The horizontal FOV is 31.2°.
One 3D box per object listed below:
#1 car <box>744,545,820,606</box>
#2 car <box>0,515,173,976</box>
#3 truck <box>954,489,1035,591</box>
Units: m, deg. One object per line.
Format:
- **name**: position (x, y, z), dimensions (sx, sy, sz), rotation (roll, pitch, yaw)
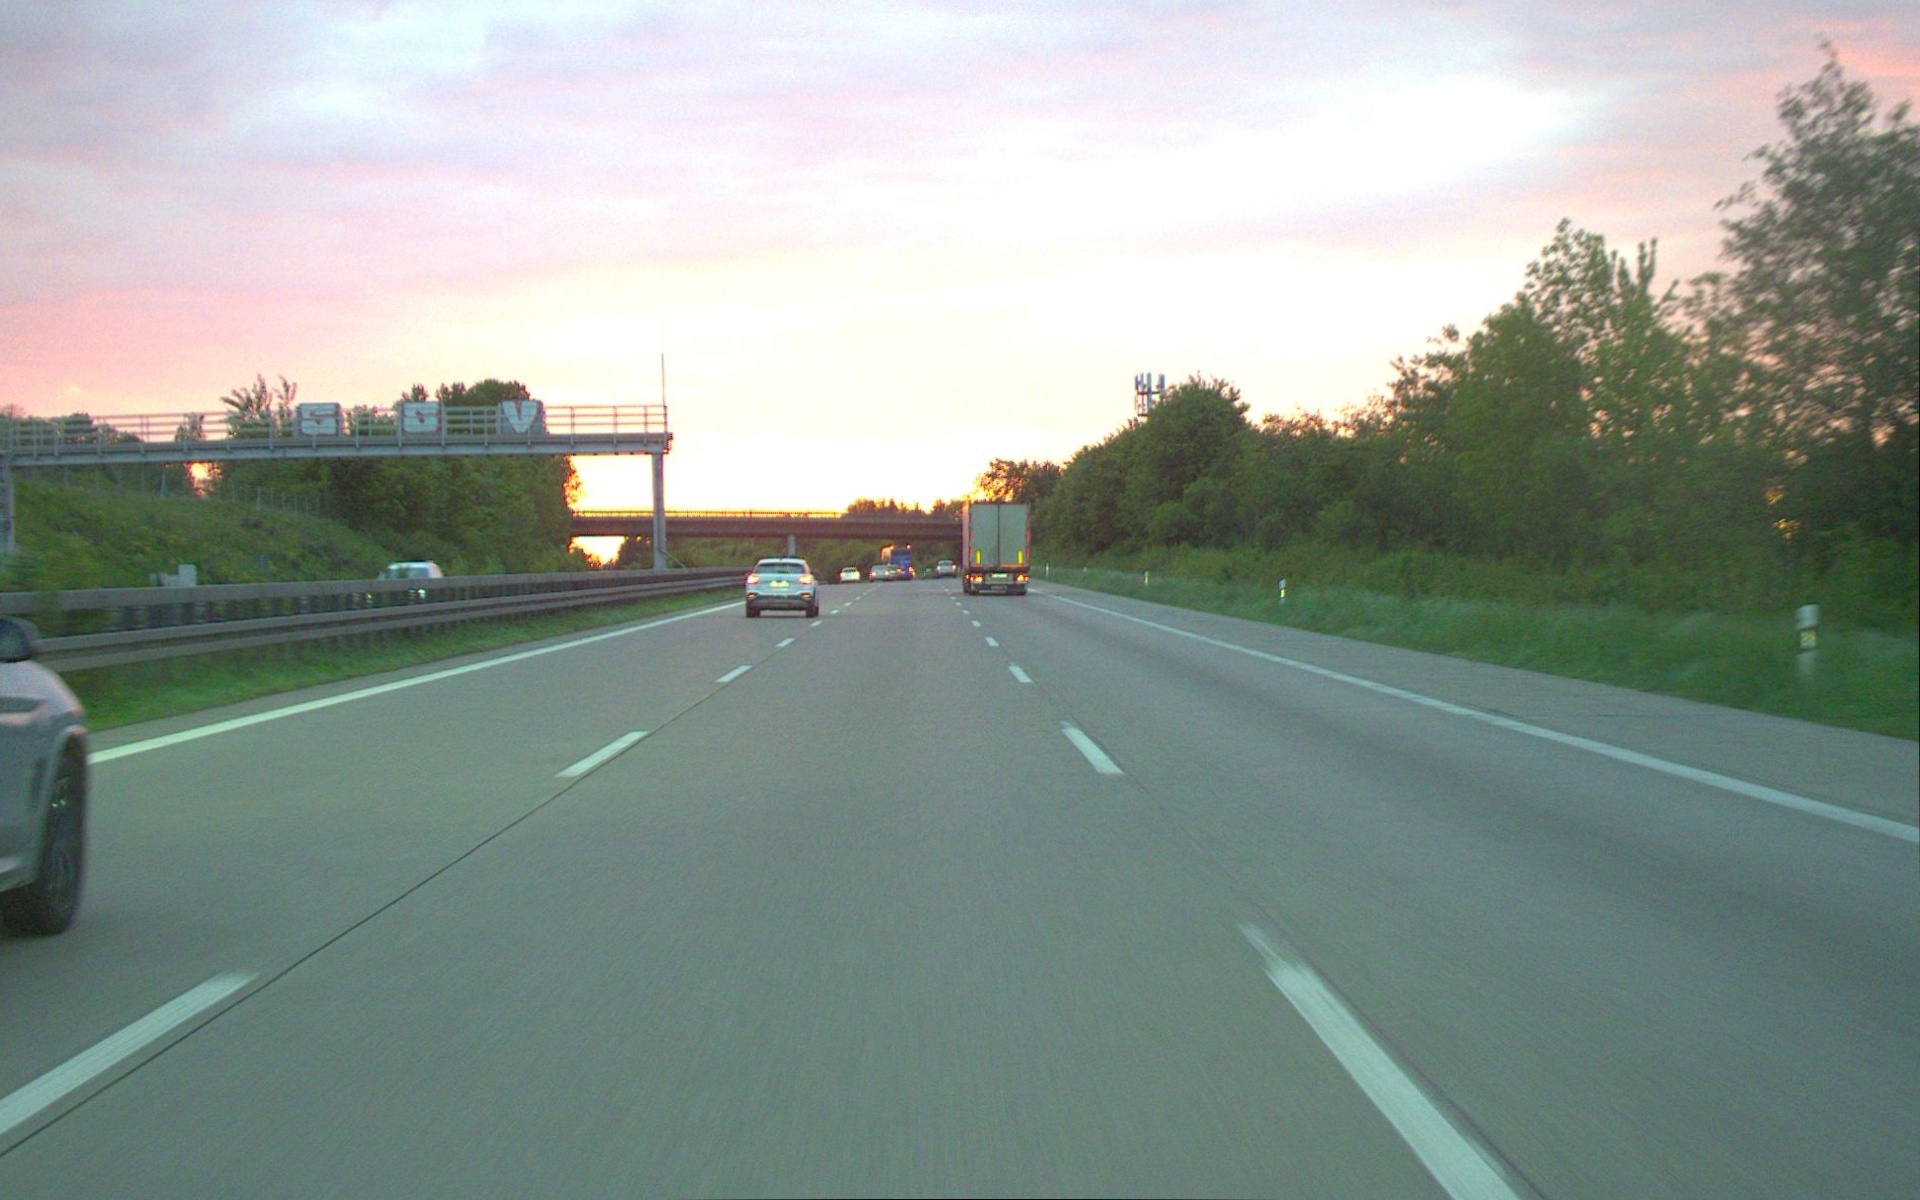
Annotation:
- **car**: position (-4.633, -0.668, 89.891), dimensions (1.789, 1.495, 5.038), rotation (1, 1, -1)
- **car**: position (-4.380, 0.518, 12.327), dimensions (1.889, 1.654, 5.640), rotation (0, 1, -1)
- **truck**: position (1.482, -2.537, 146.043), dimensions (3.244, 4.113, 9.786), rotation (-1, 1, 1)
